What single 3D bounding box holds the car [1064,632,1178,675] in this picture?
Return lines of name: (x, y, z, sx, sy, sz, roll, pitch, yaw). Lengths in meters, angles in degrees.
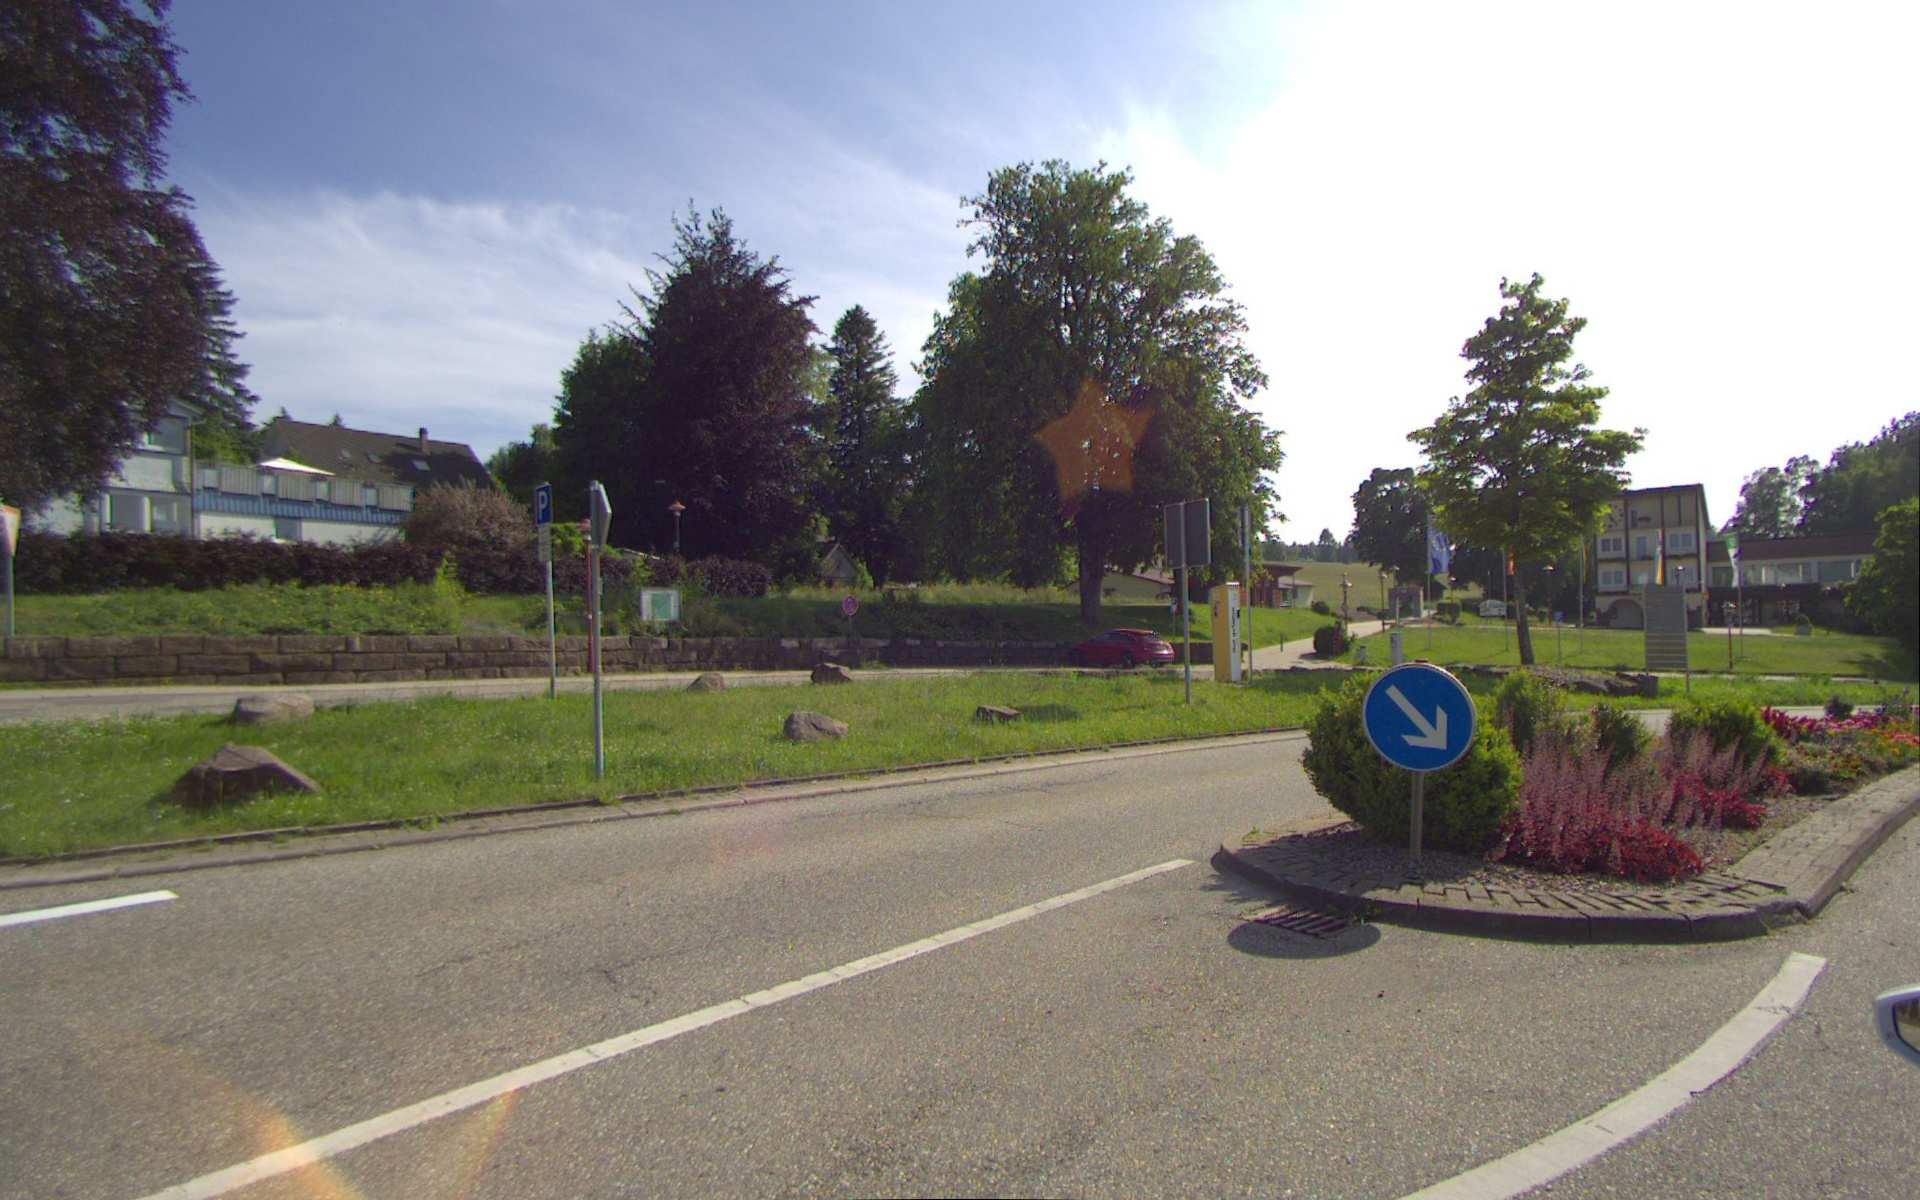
car: (5.978, 1.972, 37.664, 1.806, 1.417, 4.196, 2, -1, -35)
